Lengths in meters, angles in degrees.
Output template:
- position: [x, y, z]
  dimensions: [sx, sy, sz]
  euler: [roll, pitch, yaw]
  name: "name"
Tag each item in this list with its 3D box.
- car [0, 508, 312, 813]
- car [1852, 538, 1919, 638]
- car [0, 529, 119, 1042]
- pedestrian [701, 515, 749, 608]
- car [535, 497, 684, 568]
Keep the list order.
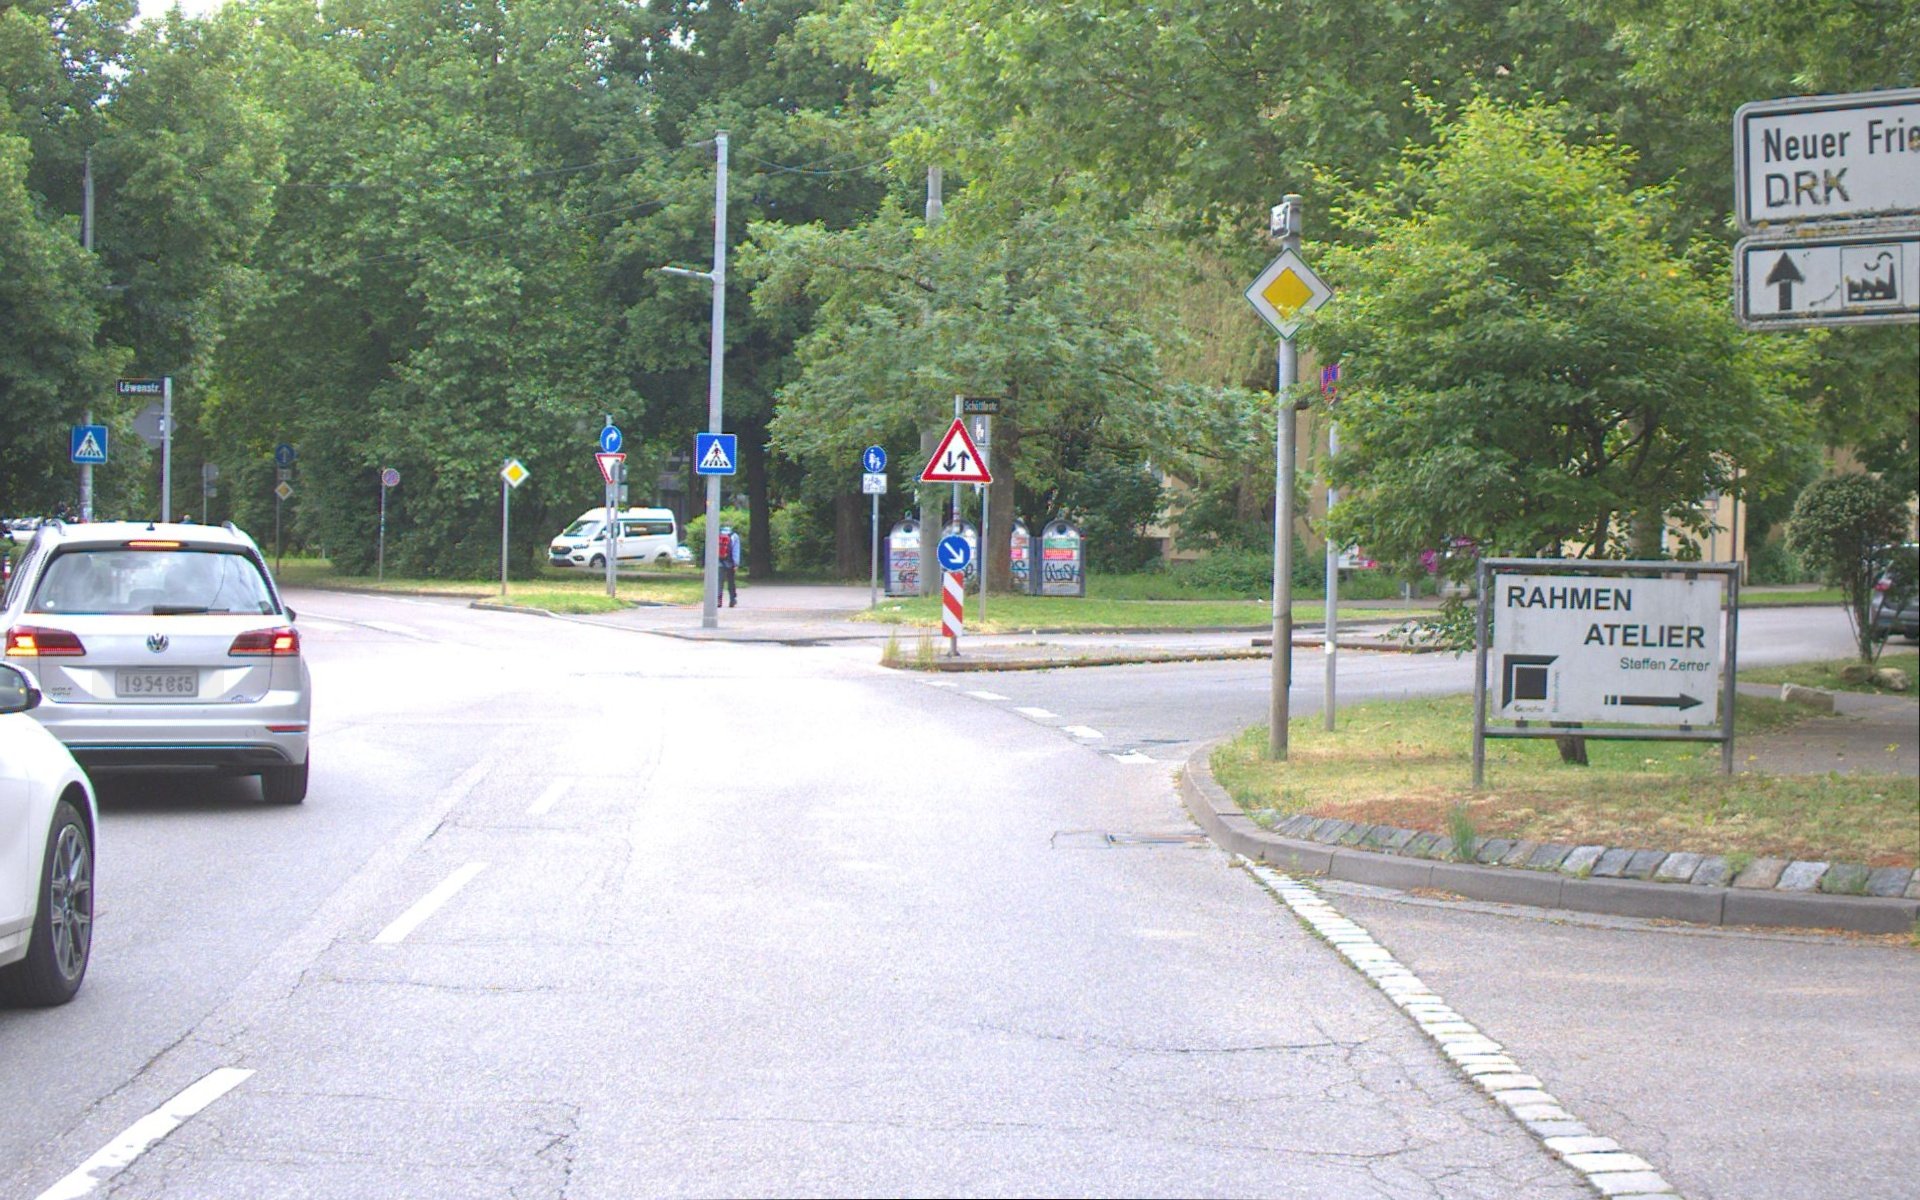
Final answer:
- position: [-4.814, 0.276, 20.186]
  dimensions: [1.922, 1.568, 4.001]
  euler: [1, 2, -11]
  name: "car"
- position: [16.559, -0.173, 58.287]
  dimensions: [1.877, 1.563, 4.013]
  euler: [5, 2, 27]
  name: "car"
- position: [-3.720, 0.558, 9.565]
  dimensions: [1.795, 1.512, 4.207]
  euler: [0, 1, -1]
  name: "car"
- position: [-4.957, -0.823, 72.420]
  dimensions: [0.923, 1.865, 1.019]
  euler: [-2, 4, -5]
  name: "pedestrian"
- position: [-12.731, -2.434, 125.179]
  dimensions: [2.135, 2.289, 5.373]
  euler: [5, 2, 37]
  name: "car"
